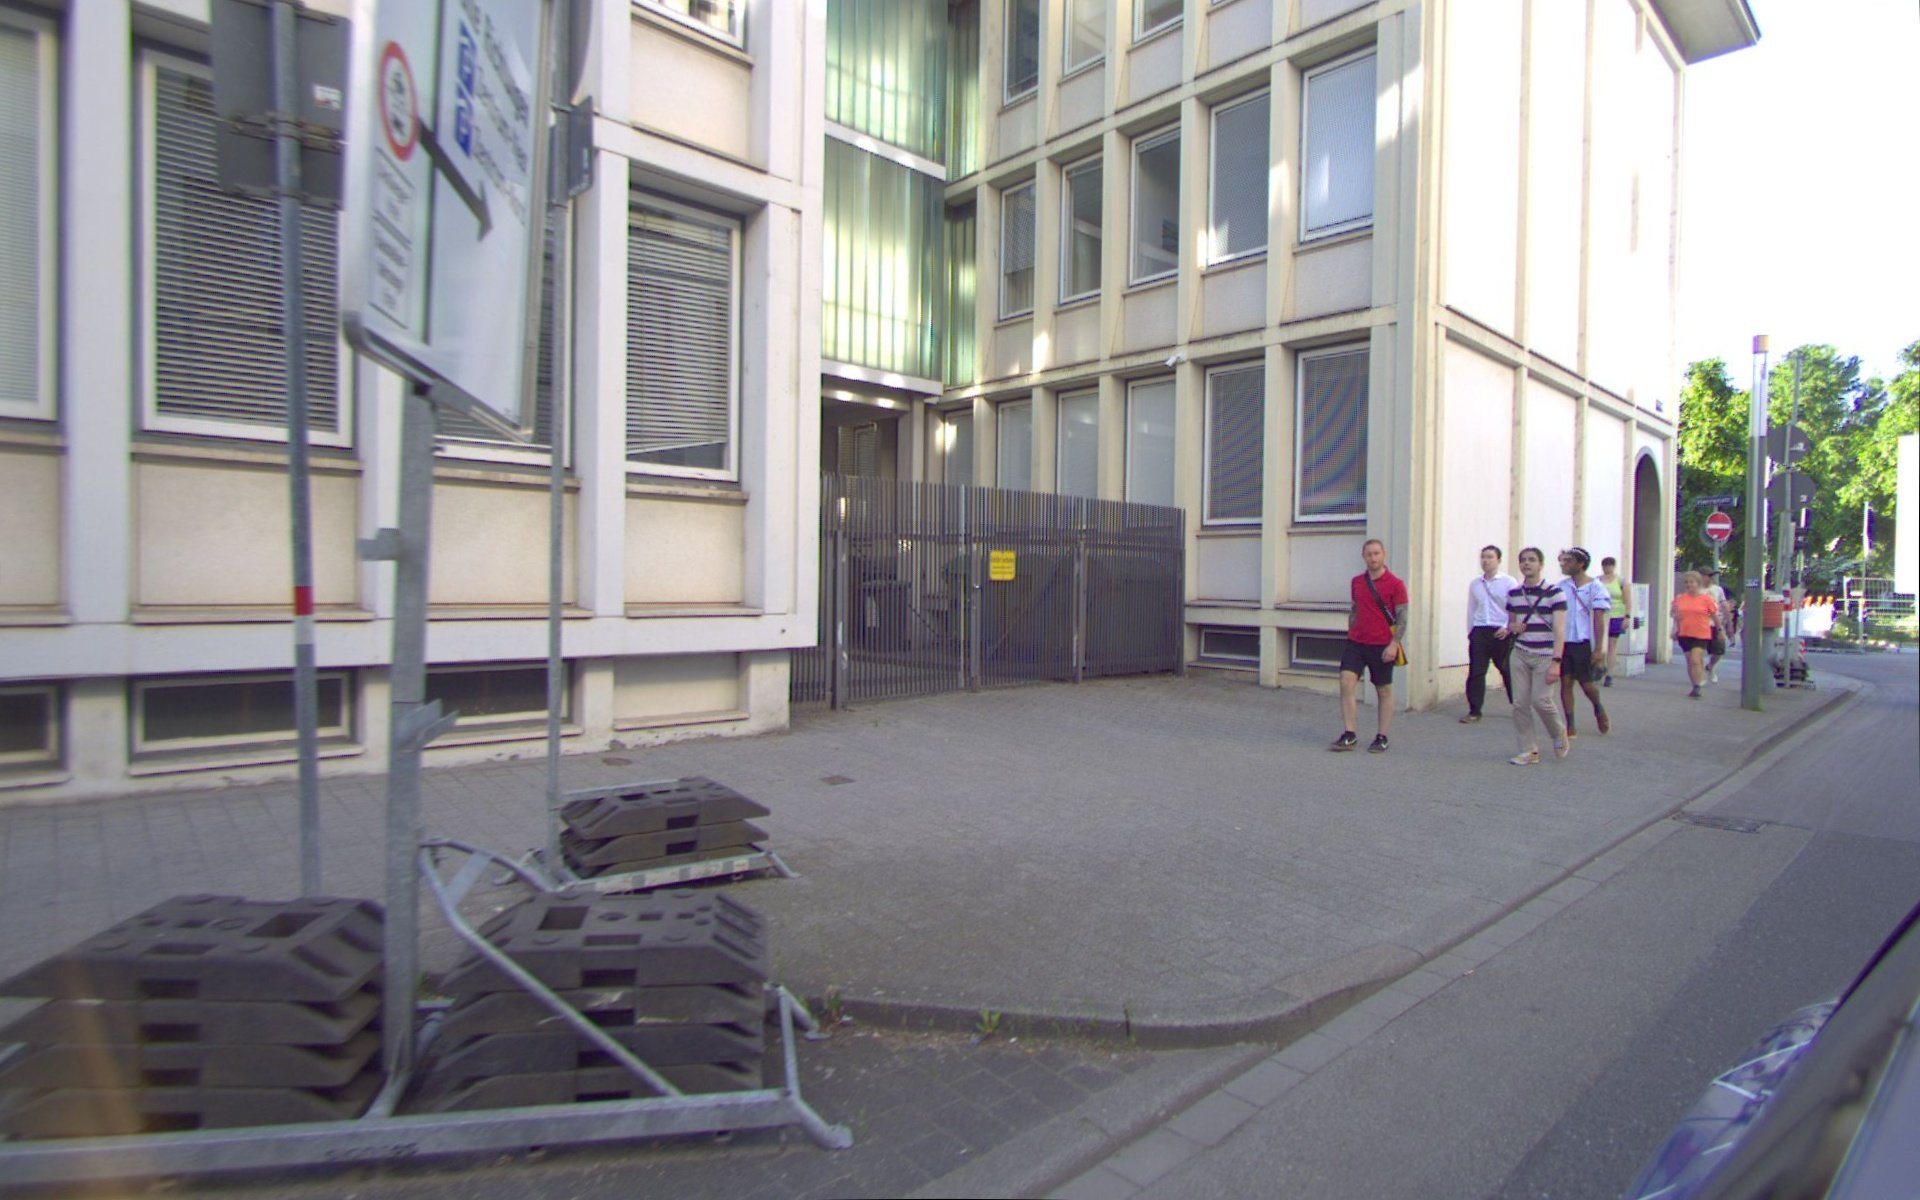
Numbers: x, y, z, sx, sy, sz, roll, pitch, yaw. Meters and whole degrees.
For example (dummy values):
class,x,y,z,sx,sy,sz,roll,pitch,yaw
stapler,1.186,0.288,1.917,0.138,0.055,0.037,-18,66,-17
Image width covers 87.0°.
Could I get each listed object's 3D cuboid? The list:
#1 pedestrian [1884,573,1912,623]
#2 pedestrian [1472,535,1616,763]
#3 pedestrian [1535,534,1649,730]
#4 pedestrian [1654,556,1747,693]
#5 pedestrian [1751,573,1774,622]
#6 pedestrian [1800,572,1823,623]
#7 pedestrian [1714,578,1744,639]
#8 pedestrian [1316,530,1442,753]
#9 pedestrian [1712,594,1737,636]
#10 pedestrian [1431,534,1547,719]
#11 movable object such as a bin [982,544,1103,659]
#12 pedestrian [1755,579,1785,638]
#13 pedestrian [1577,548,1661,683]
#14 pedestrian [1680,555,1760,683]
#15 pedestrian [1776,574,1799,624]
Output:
class,x,y,z,sx,sy,sz,roll,pitch,yaw
pedestrian,34.460,-0.086,37.185,0.621,1.805,0.617,0,1,30
pedestrian,4.963,0.384,8.612,0.681,1.799,0.685,0,7,-41
pedestrian,6.135,0.280,9.835,0.681,1.800,0.684,0,3,-41
pedestrian,9.552,0.297,13.057,0.681,1.655,0.685,0,6,-41
pedestrian,29.752,-0.103,37.521,0.624,1.805,0.614,1,1,42
pedestrian,30.642,-0.104,36.413,0.624,1.805,0.614,1,1,42
pedestrian,21.630,0.227,28.464,0.624,1.662,0.614,1,1,42
pedestrian,3.594,0.325,8.694,0.583,1.799,0.685,0,4,-41
pedestrian,22.092,0.429,29.231,0.533,1.191,0.614,1,1,42
pedestrian,5.509,0.251,10.545,0.681,1.799,0.685,0,7,-41
movable object such as a bin,1.119,-0.002,13.596,1.359,1.454,0.968,-1,1,-42
pedestrian,22.862,0.228,28.564,0.624,1.634,0.614,1,1,42
pedestrian,8.949,0.191,13.748,0.681,1.736,0.685,0,4,-41
pedestrian,10.822,0.247,14.415,0.681,1.736,0.684,0,3,-41
pedestrian,30.264,-0.040,37.026,0.624,1.805,0.614,1,1,42
